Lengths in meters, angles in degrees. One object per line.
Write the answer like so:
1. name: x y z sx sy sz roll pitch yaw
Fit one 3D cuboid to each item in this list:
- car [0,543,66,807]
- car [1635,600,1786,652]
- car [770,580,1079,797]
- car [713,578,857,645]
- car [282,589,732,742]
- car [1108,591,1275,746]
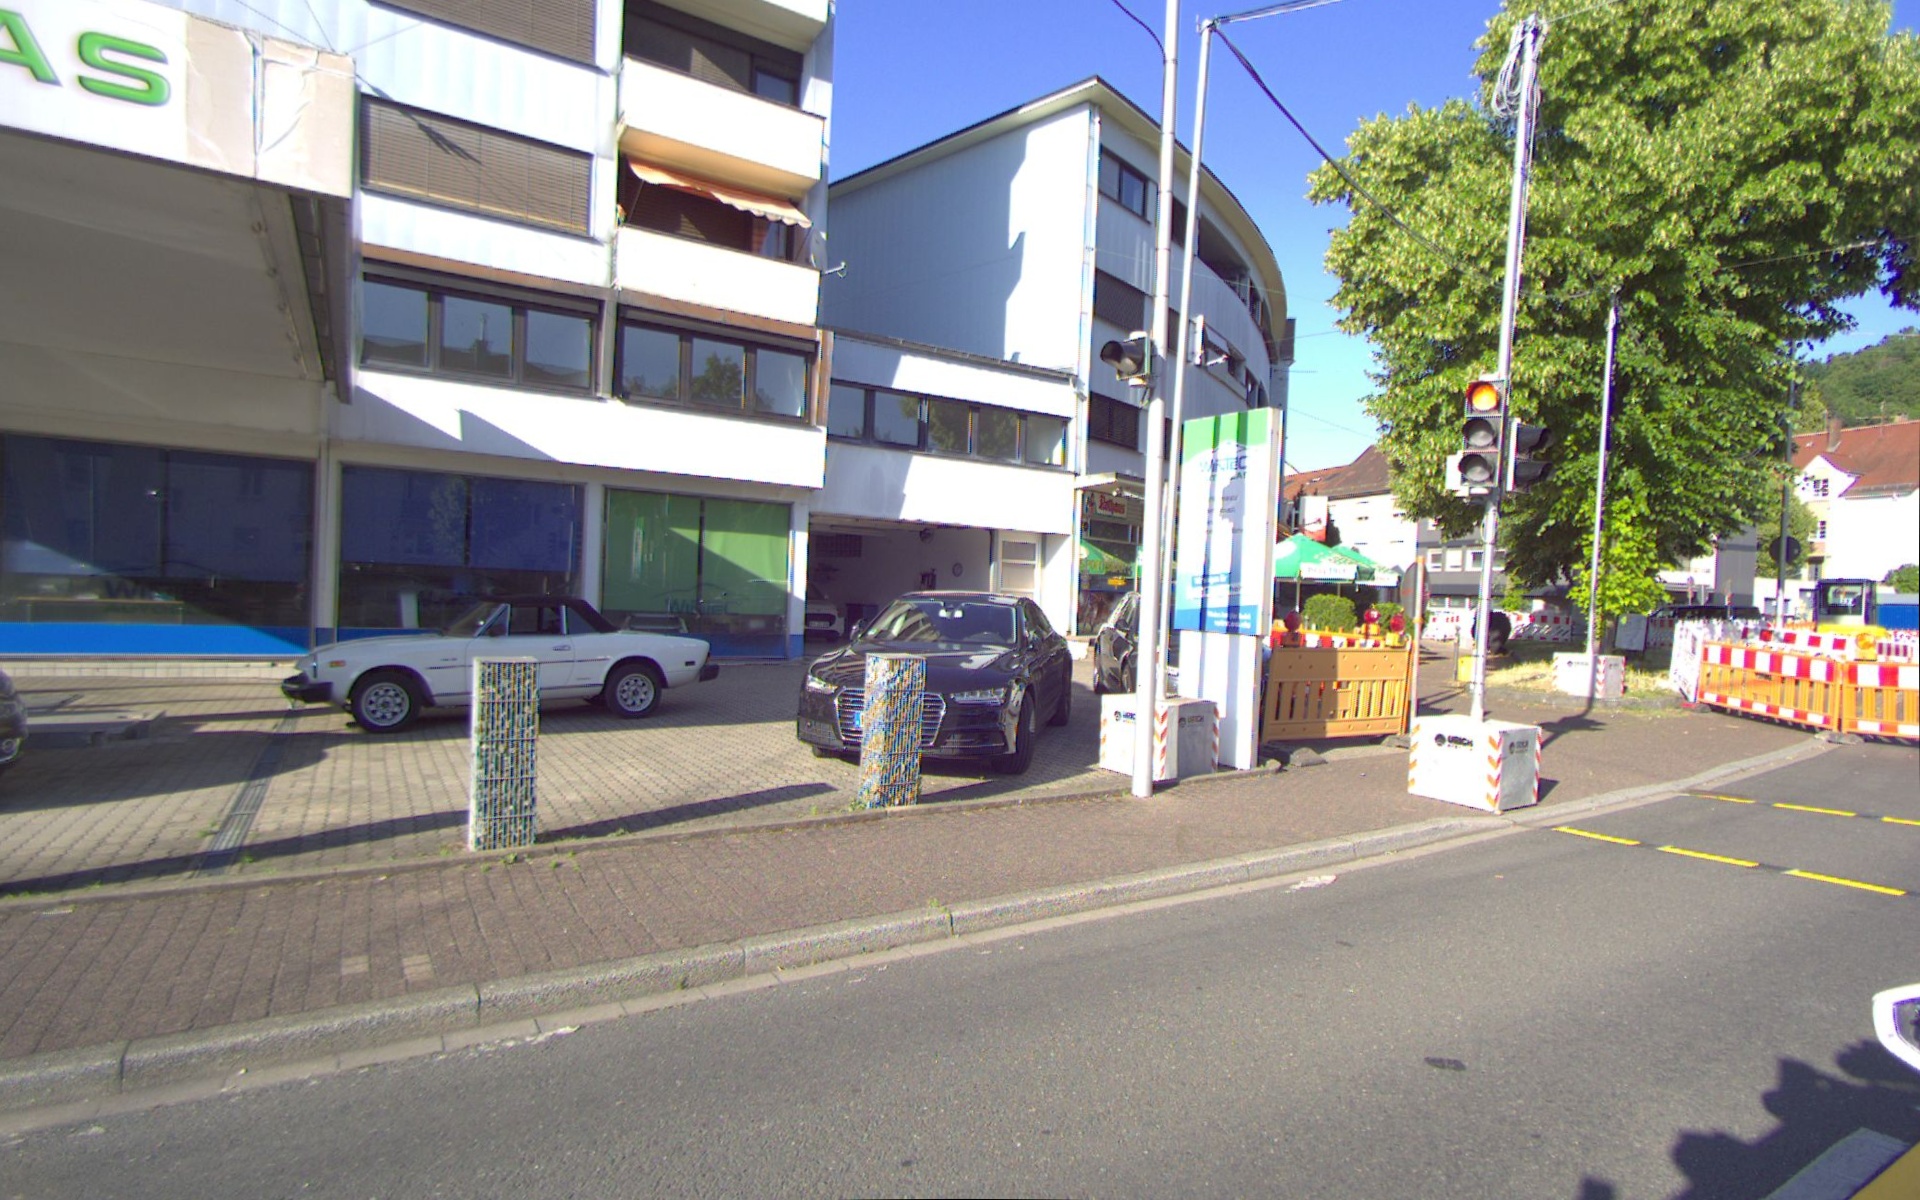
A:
1. car: -7.482 0.390 5.841 3.325 1.589 1.623 2 1 8
2. car: 33.235 1.119 44.639 2.042 2.040 4.966 2 1 -26
3. car: -0.040 0.595 9.467 1.872 1.474 4.315 3 1 12
4. car: -4.328 0.238 24.381 1.980 1.486 3.961 1 0 -34
5. car: -4.637 0.575 10.529 4.097 1.301 1.576 0 1 -35
6. car: 2.809 0.679 12.439 1.617 1.474 4.301 3 1 12
